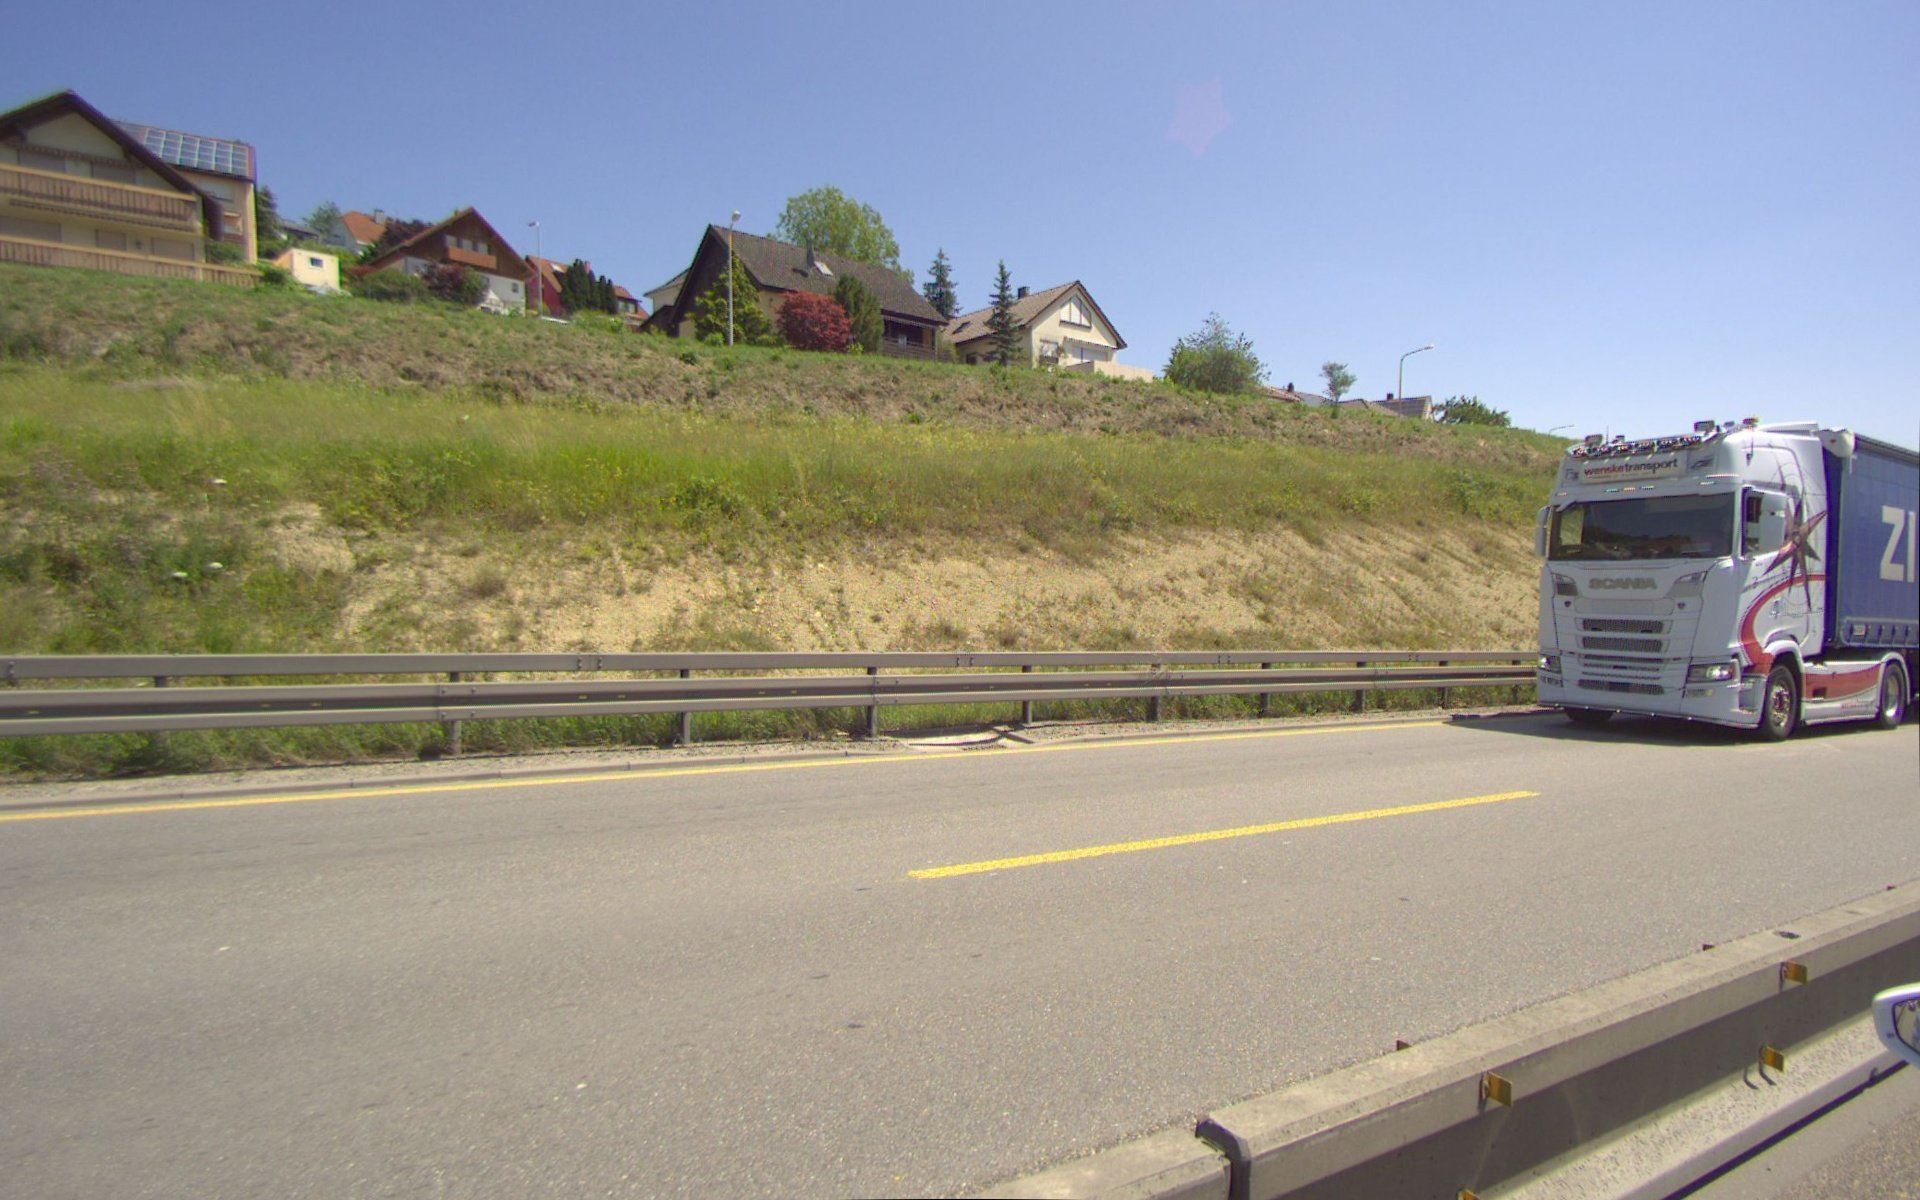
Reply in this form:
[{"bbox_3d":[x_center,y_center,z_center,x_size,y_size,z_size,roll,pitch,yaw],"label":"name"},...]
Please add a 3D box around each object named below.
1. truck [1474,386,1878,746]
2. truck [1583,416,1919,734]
[{"bbox_3d":[10.089,-0.356,14.237,4.198,4.215,3.223,1,0,-31],"label":"truck"},{"bbox_3d":[16.730,-0.184,18.259,13.818,4.215,3.227,1,0,-31],"label":"truck"}]
